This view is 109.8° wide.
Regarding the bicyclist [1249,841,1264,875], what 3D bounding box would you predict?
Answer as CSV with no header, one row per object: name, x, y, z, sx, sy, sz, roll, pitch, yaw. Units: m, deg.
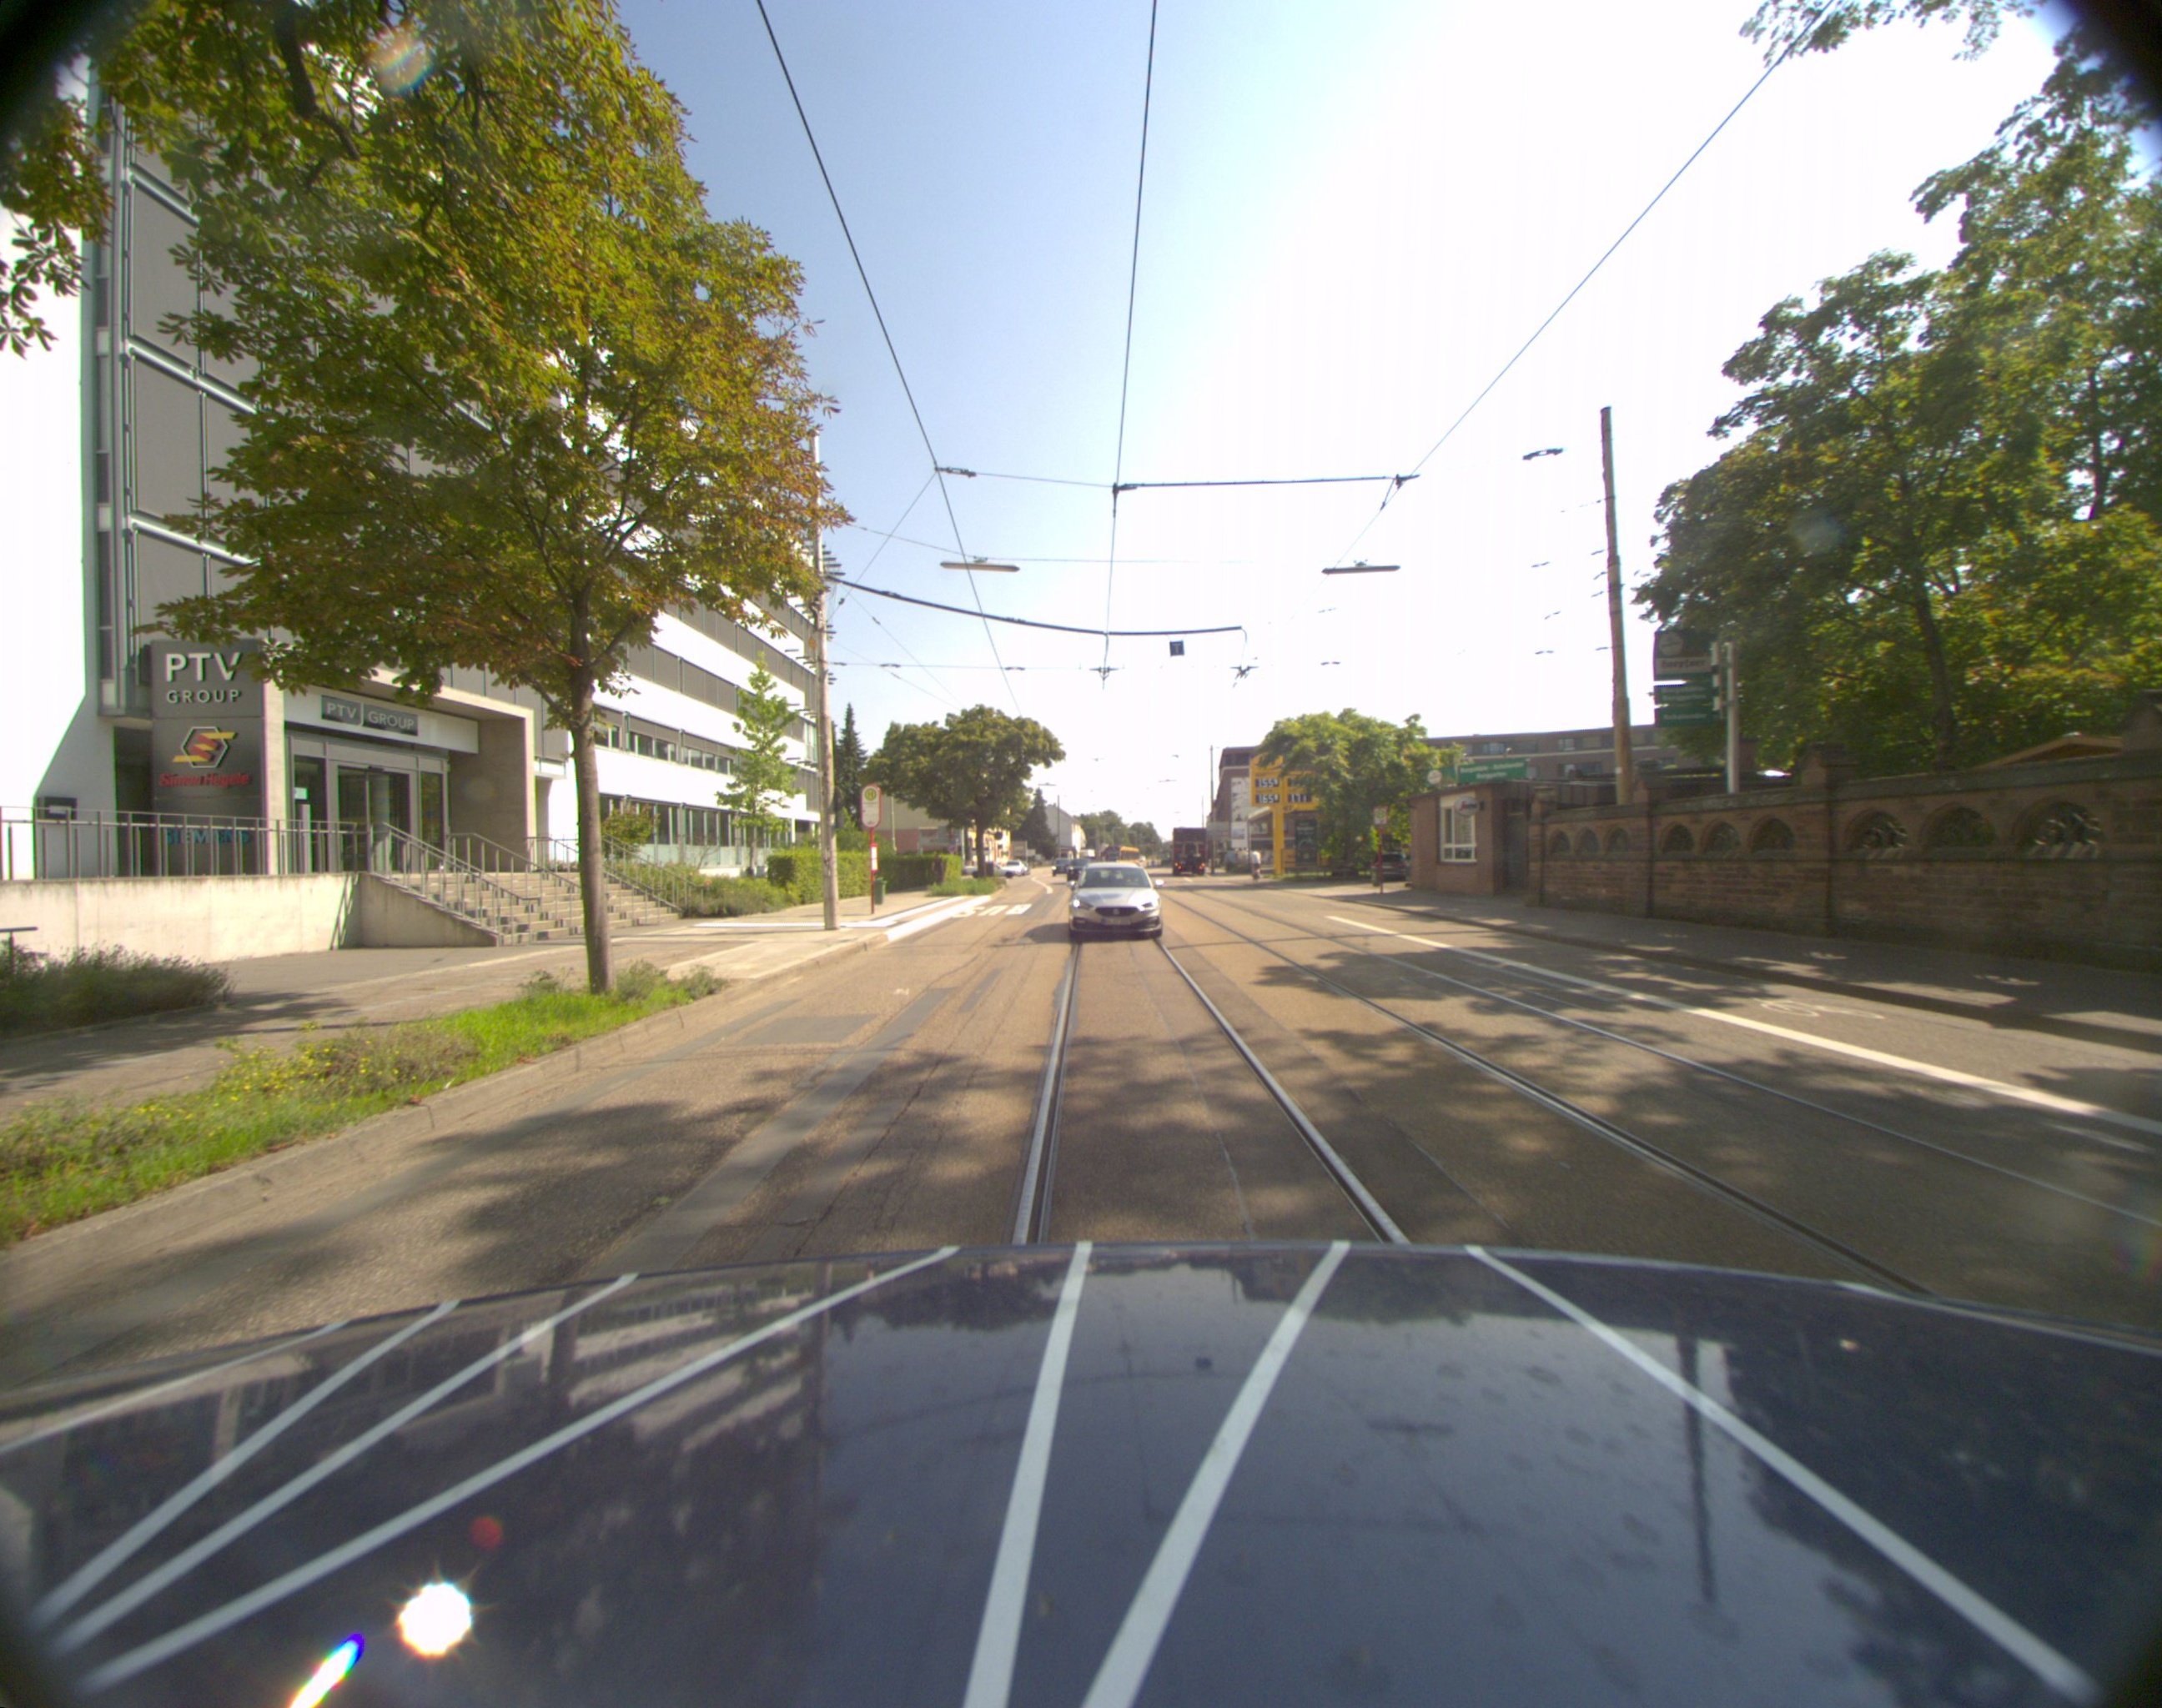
bicyclist,10.094,0.233,43.683,0.642,1.918,1.177,-1,1,20

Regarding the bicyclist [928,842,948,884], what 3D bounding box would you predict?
bicyclist,-7.047,0.445,37.590,0.783,2.002,1.274,-2,1,-5

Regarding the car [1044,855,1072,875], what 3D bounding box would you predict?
car,-2.021,0.945,69.572,2.261,1.660,5.653,-2,0,1

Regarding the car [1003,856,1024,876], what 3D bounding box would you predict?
car,-6.741,1.187,76.672,1.960,1.910,4.552,-2,0,-4

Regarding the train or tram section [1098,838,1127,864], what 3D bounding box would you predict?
train or tram section,5.089,-0.498,124.185,4.111,3.711,24.380,-2,0,2

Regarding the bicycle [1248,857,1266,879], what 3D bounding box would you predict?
bicycle,10.137,0.784,43.707,0.786,1.233,2.037,-1,-1,20

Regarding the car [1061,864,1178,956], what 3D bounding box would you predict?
car,0.665,0.967,15.134,1.928,1.465,4.817,-1,0,1

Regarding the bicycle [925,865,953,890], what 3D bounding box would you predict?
bicycle,-7.037,1.138,37.750,1.139,1.118,2.535,-2,0,-5

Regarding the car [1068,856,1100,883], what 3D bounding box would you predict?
car,0.216,0.907,46.937,1.834,1.543,4.032,-2,0,1

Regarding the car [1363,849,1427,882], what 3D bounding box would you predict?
car,15.512,0.519,37.379,1.932,1.452,4.536,-1,0,35

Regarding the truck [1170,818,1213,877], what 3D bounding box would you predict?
truck,9.576,-0.548,67.055,3.171,4.427,16.848,-1,0,7

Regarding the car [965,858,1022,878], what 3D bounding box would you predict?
car,-7.143,1.133,62.650,4.552,1.506,1.960,-2,0,-4
